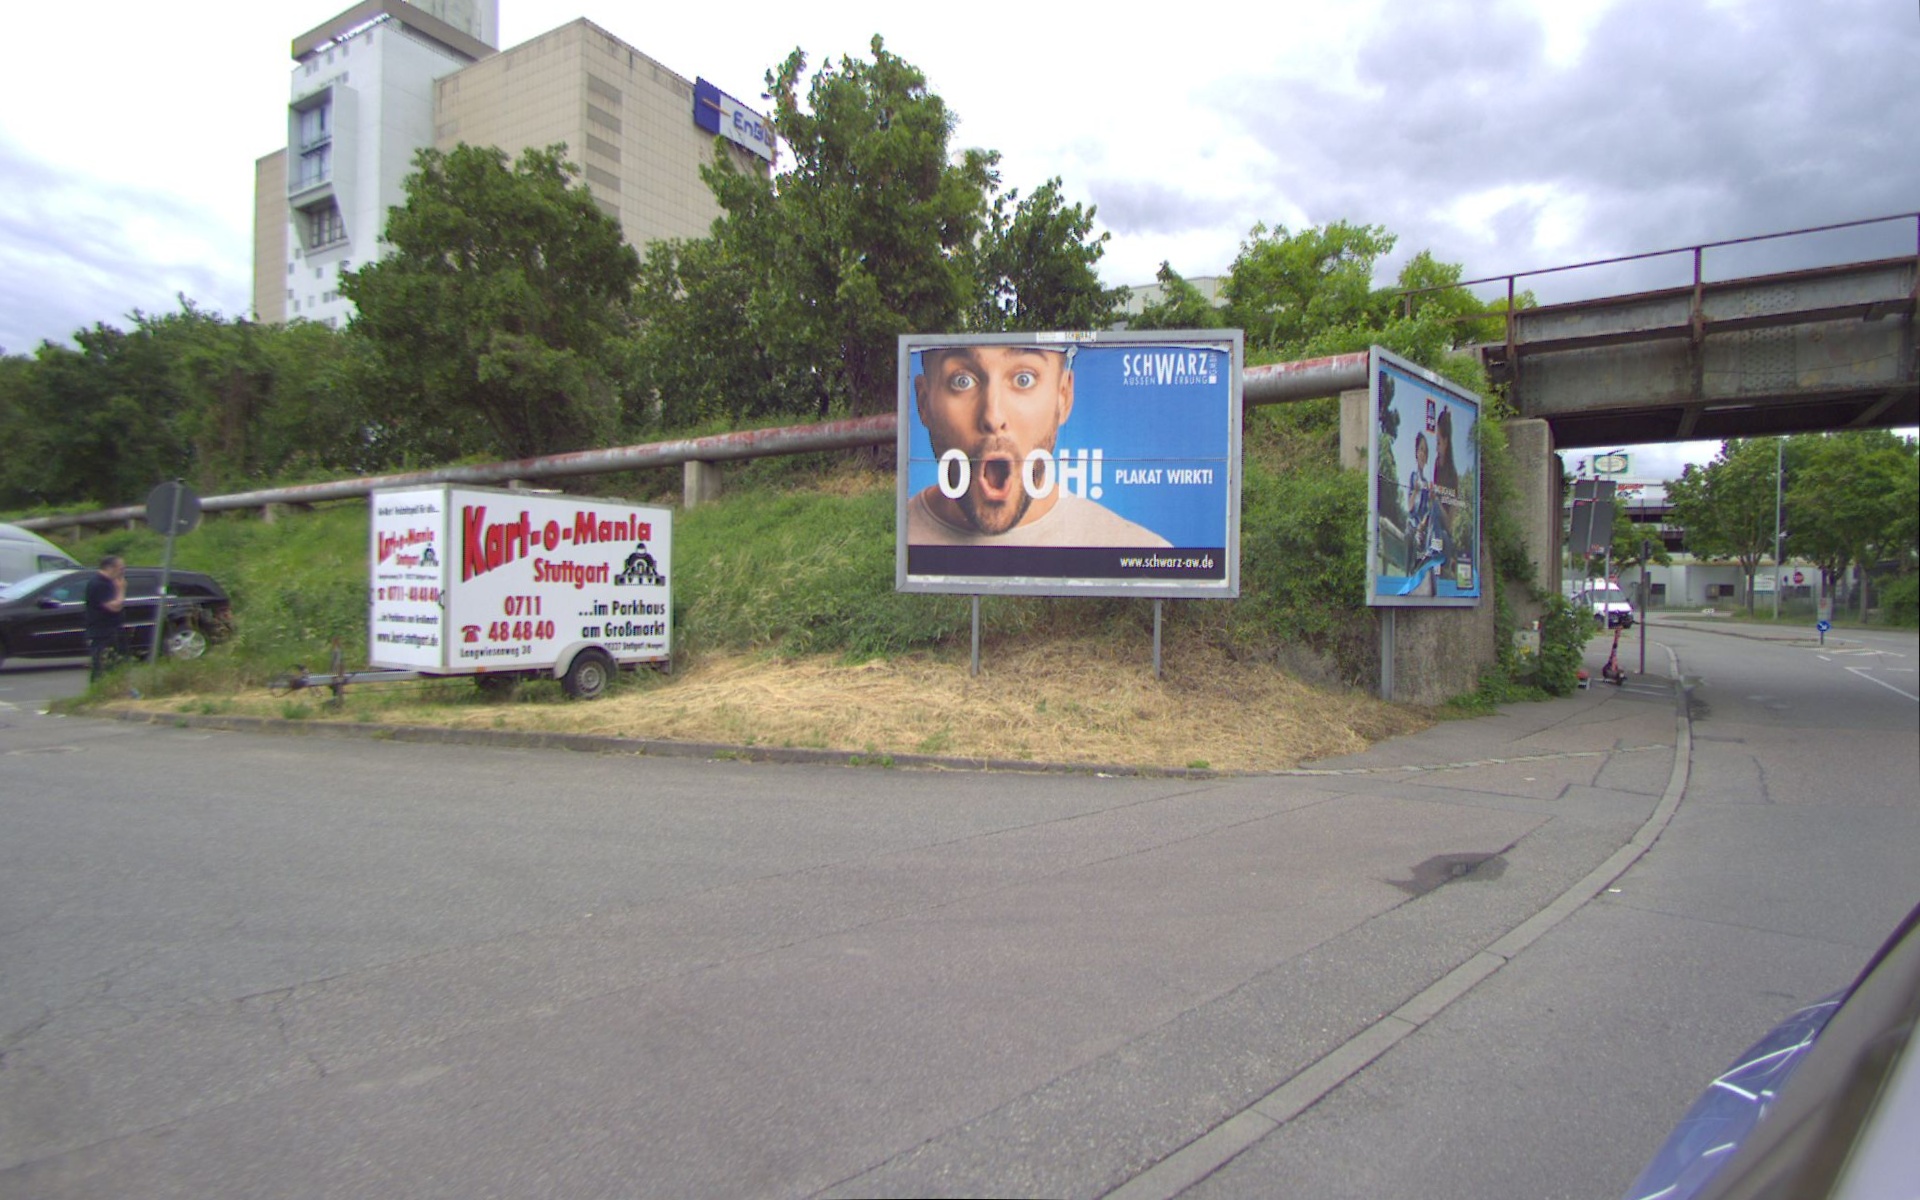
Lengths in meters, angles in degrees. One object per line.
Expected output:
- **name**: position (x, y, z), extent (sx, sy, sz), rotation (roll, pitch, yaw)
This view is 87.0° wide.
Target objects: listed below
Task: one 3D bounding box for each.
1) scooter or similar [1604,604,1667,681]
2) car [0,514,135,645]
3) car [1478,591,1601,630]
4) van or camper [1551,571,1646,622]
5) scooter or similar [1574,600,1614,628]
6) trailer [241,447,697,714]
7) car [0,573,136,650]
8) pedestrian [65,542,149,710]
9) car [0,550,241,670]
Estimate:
- **scooter or similar**: position (12.005, 0.727, 18.028), extent (0.500, 1.251, 1.657), rotation (5, 2, 22)
- **car**: position (-21.696, -0.460, 21.750), extent (2.011, 2.814, 5.827), rotation (1, 0, 34)
- **car**: position (23.800, 0.410, 41.679), extent (3.956, 1.450, 1.781), rotation (2, 1, 10)
- **van or camper**: position (34.413, -0.214, 54.782), extent (2.237, 2.589, 6.089), rotation (0, 1, 11)
- **scooter or similar**: position (27.559, 0.595, 43.972), extent (1.411, 1.147, 0.474), rotation (4, 2, 36)
- **trailer**: position (-5.313, -0.171, 11.557), extent (1.798, 2.428, 4.360), rotation (0, 0, 34)
- **car**: position (-19.707, 0.220, 20.803), extent (1.857, 1.527, 3.950), rotation (1, 0, 34)
- **pedestrian**: position (-9.797, 0.285, 11.616), extent (0.686, 1.843, 0.697), rotation (1, -1, -42)
- **car**: position (-15.589, 0.156, 17.637), extent (1.985, 1.906, 4.600), rotation (1, 0, 32)
